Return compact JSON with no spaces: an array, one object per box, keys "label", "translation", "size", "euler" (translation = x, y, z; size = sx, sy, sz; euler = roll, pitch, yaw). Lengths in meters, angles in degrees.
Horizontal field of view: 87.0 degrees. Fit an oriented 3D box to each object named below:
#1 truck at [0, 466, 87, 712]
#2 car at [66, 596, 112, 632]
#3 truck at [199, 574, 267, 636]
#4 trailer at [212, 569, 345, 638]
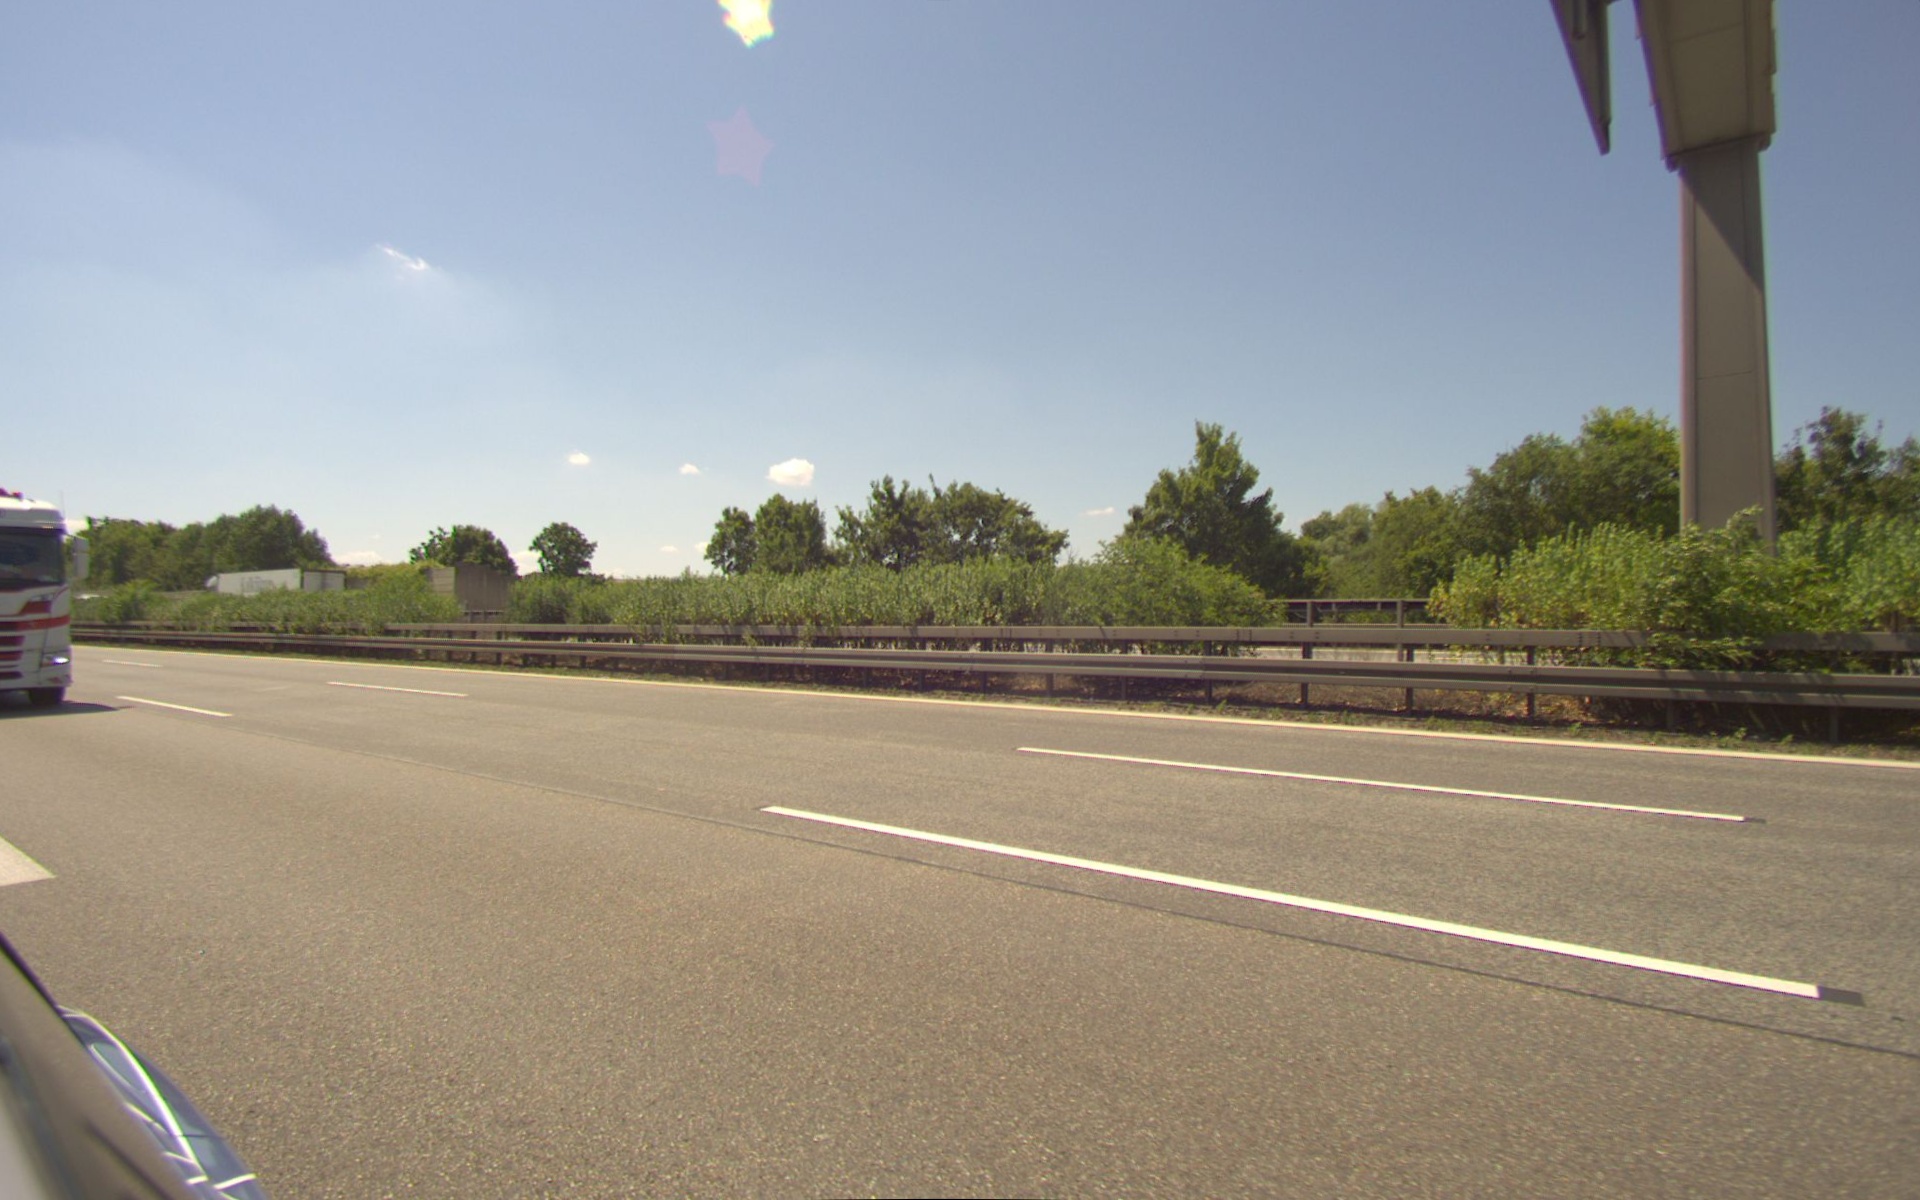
[{"label":"truck","translation":[-19.270,-0.098,18.801],"size":[10.658,3.831,2.688],"euler":[-1,-1,38]},{"label":"car","translation":[-69.124,1.151,80.321],"size":[3.994,2.786,1.975],"euler":[-1,-1,38]},{"label":"truck","translation":[-50.979,0.391,70.949],"size":[4.740,4.187,2.581],"euler":[-1,-1,37]},{"label":"trailer","translation":[-45.005,0.315,66.551],"size":[14.200,4.165,2.582],"euler":[-1,-1,36]}]
